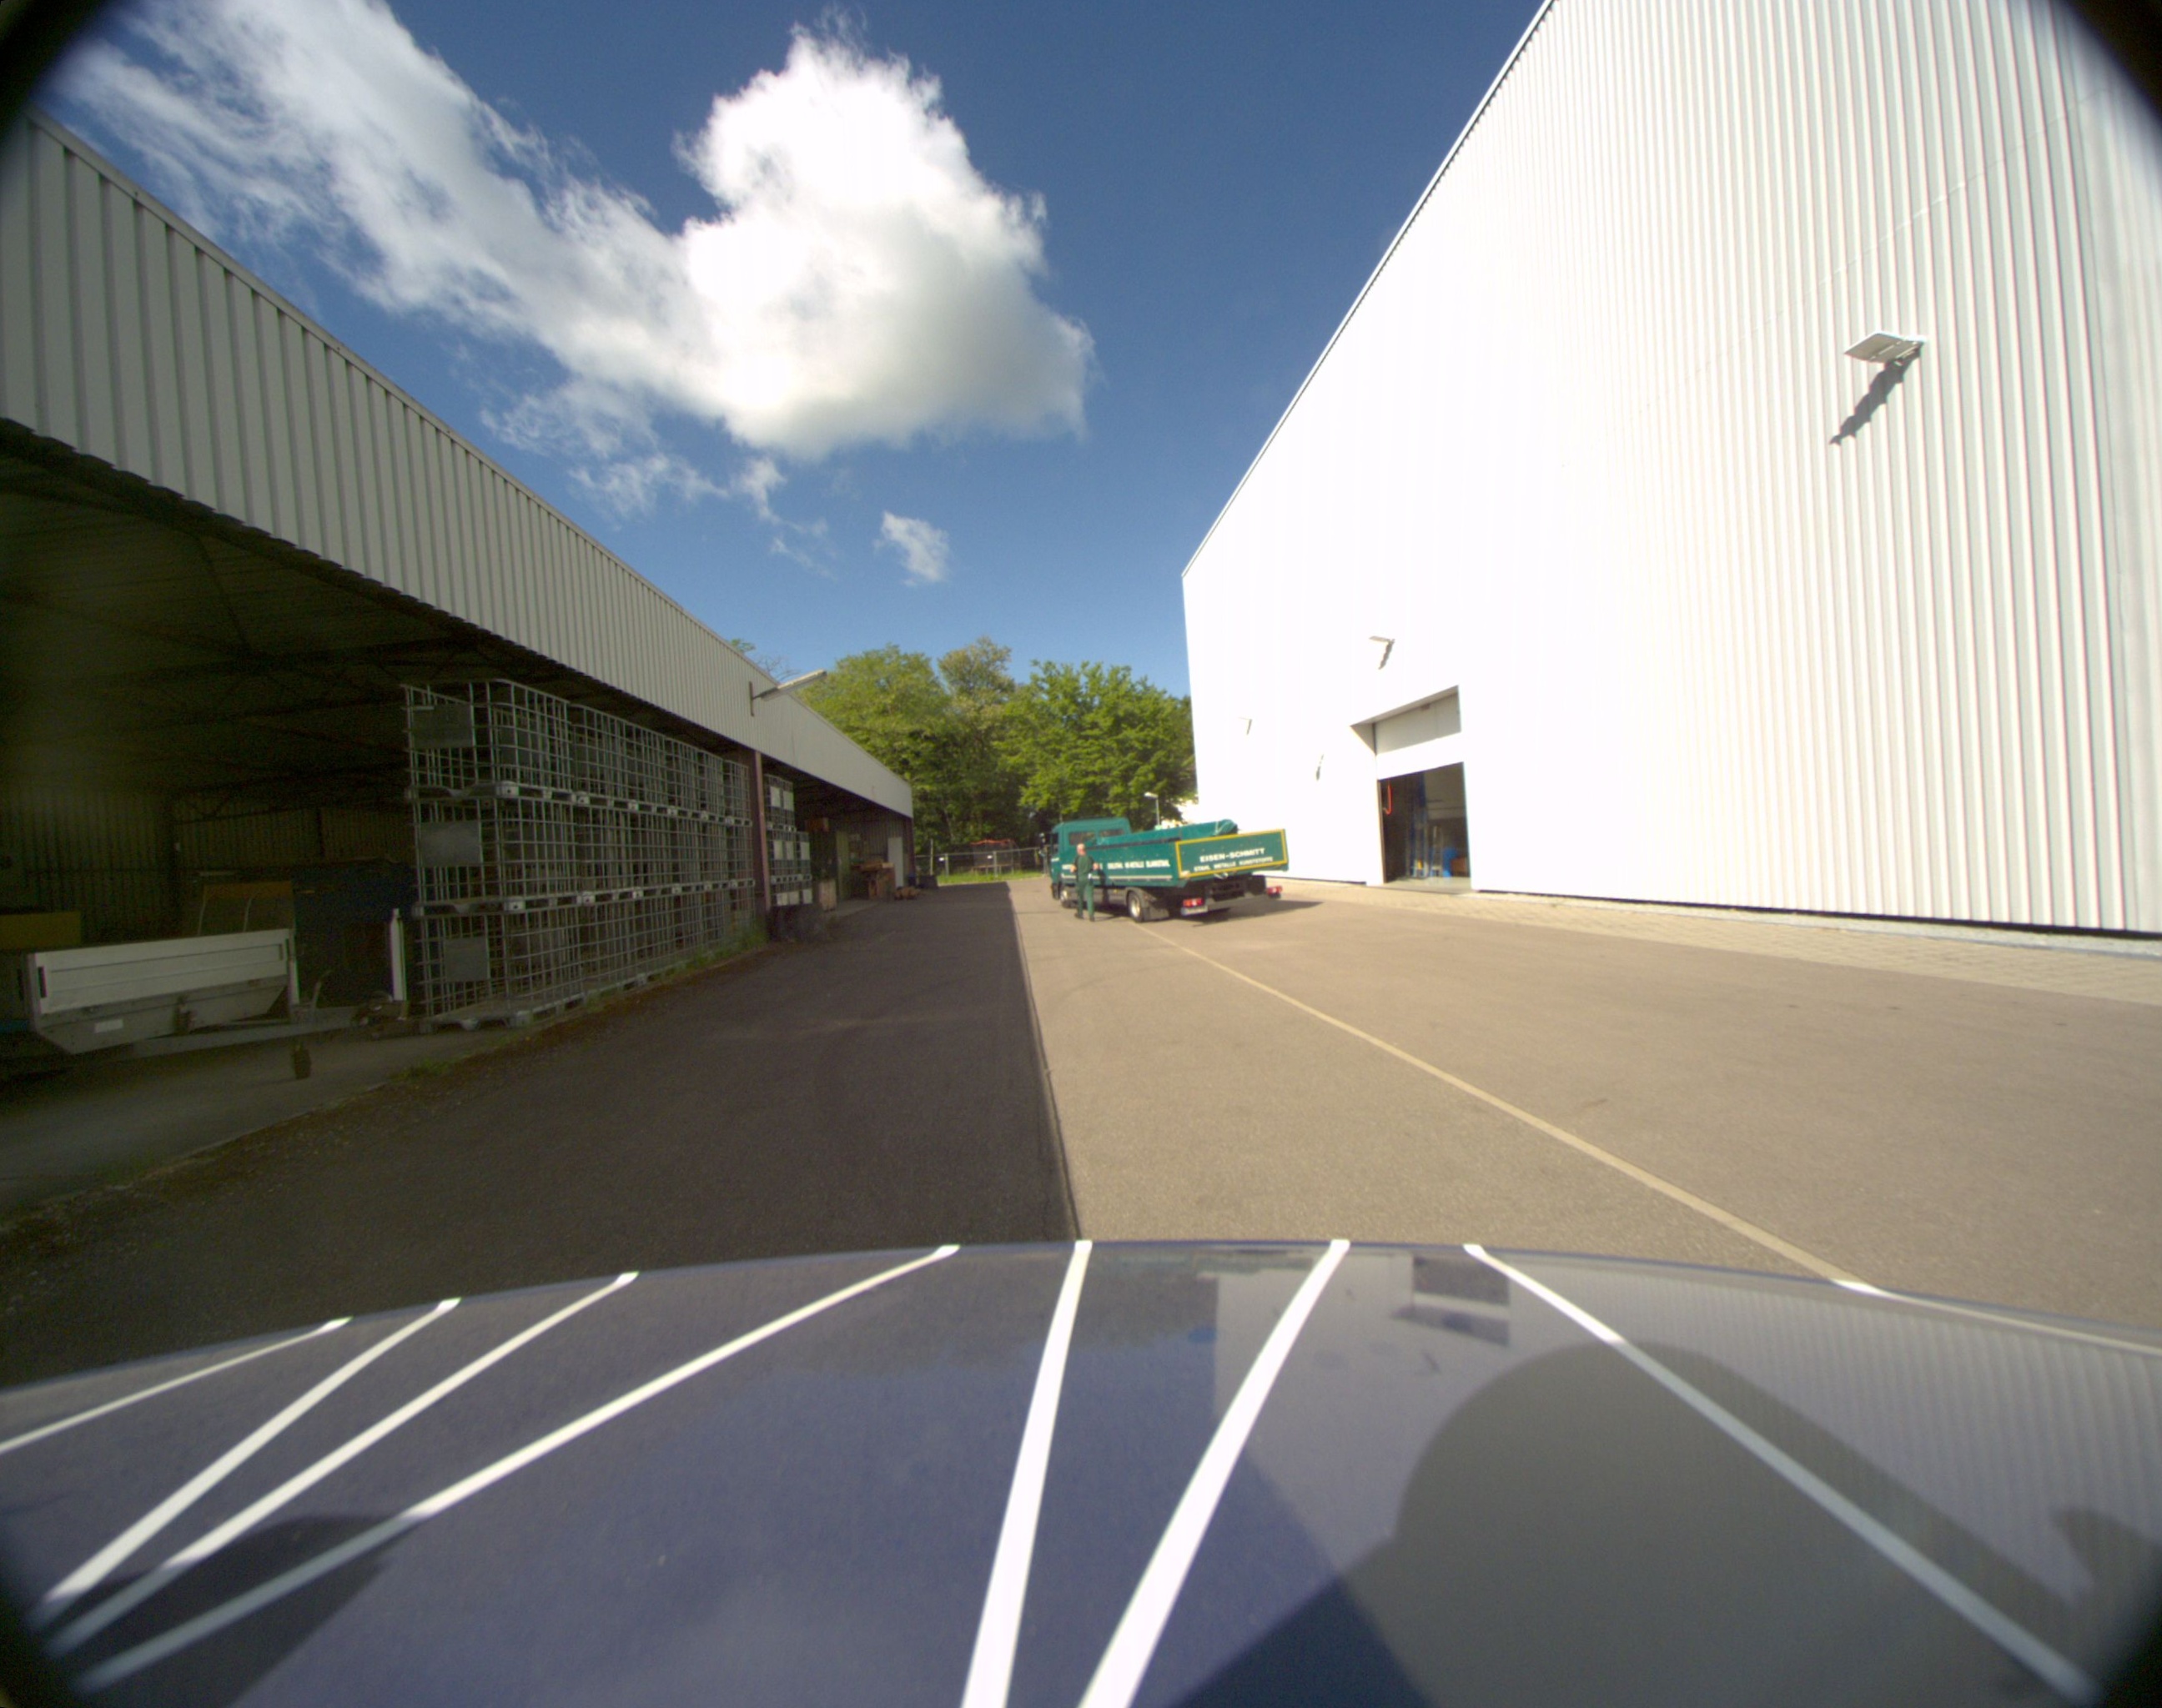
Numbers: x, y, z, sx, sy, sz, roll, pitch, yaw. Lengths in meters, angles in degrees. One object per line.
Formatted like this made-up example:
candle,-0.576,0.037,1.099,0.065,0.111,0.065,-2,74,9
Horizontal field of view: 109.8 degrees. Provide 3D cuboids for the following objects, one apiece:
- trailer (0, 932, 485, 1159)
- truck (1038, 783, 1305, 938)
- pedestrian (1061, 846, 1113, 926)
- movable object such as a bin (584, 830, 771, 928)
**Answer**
trailer,-8.236,1.434,5.617,5.752,1.126,2.007,-3,0,-7
truck,1.546,0.190,19.151,2.590,2.701,9.681,-7,1,-18
pedestrian,0.124,0.735,17.875,0.895,1.792,1.038,-2,1,-18
movable object such as a bin,-12.378,0.741,23.602,4.629,2.706,1.999,-2,-1,-8
